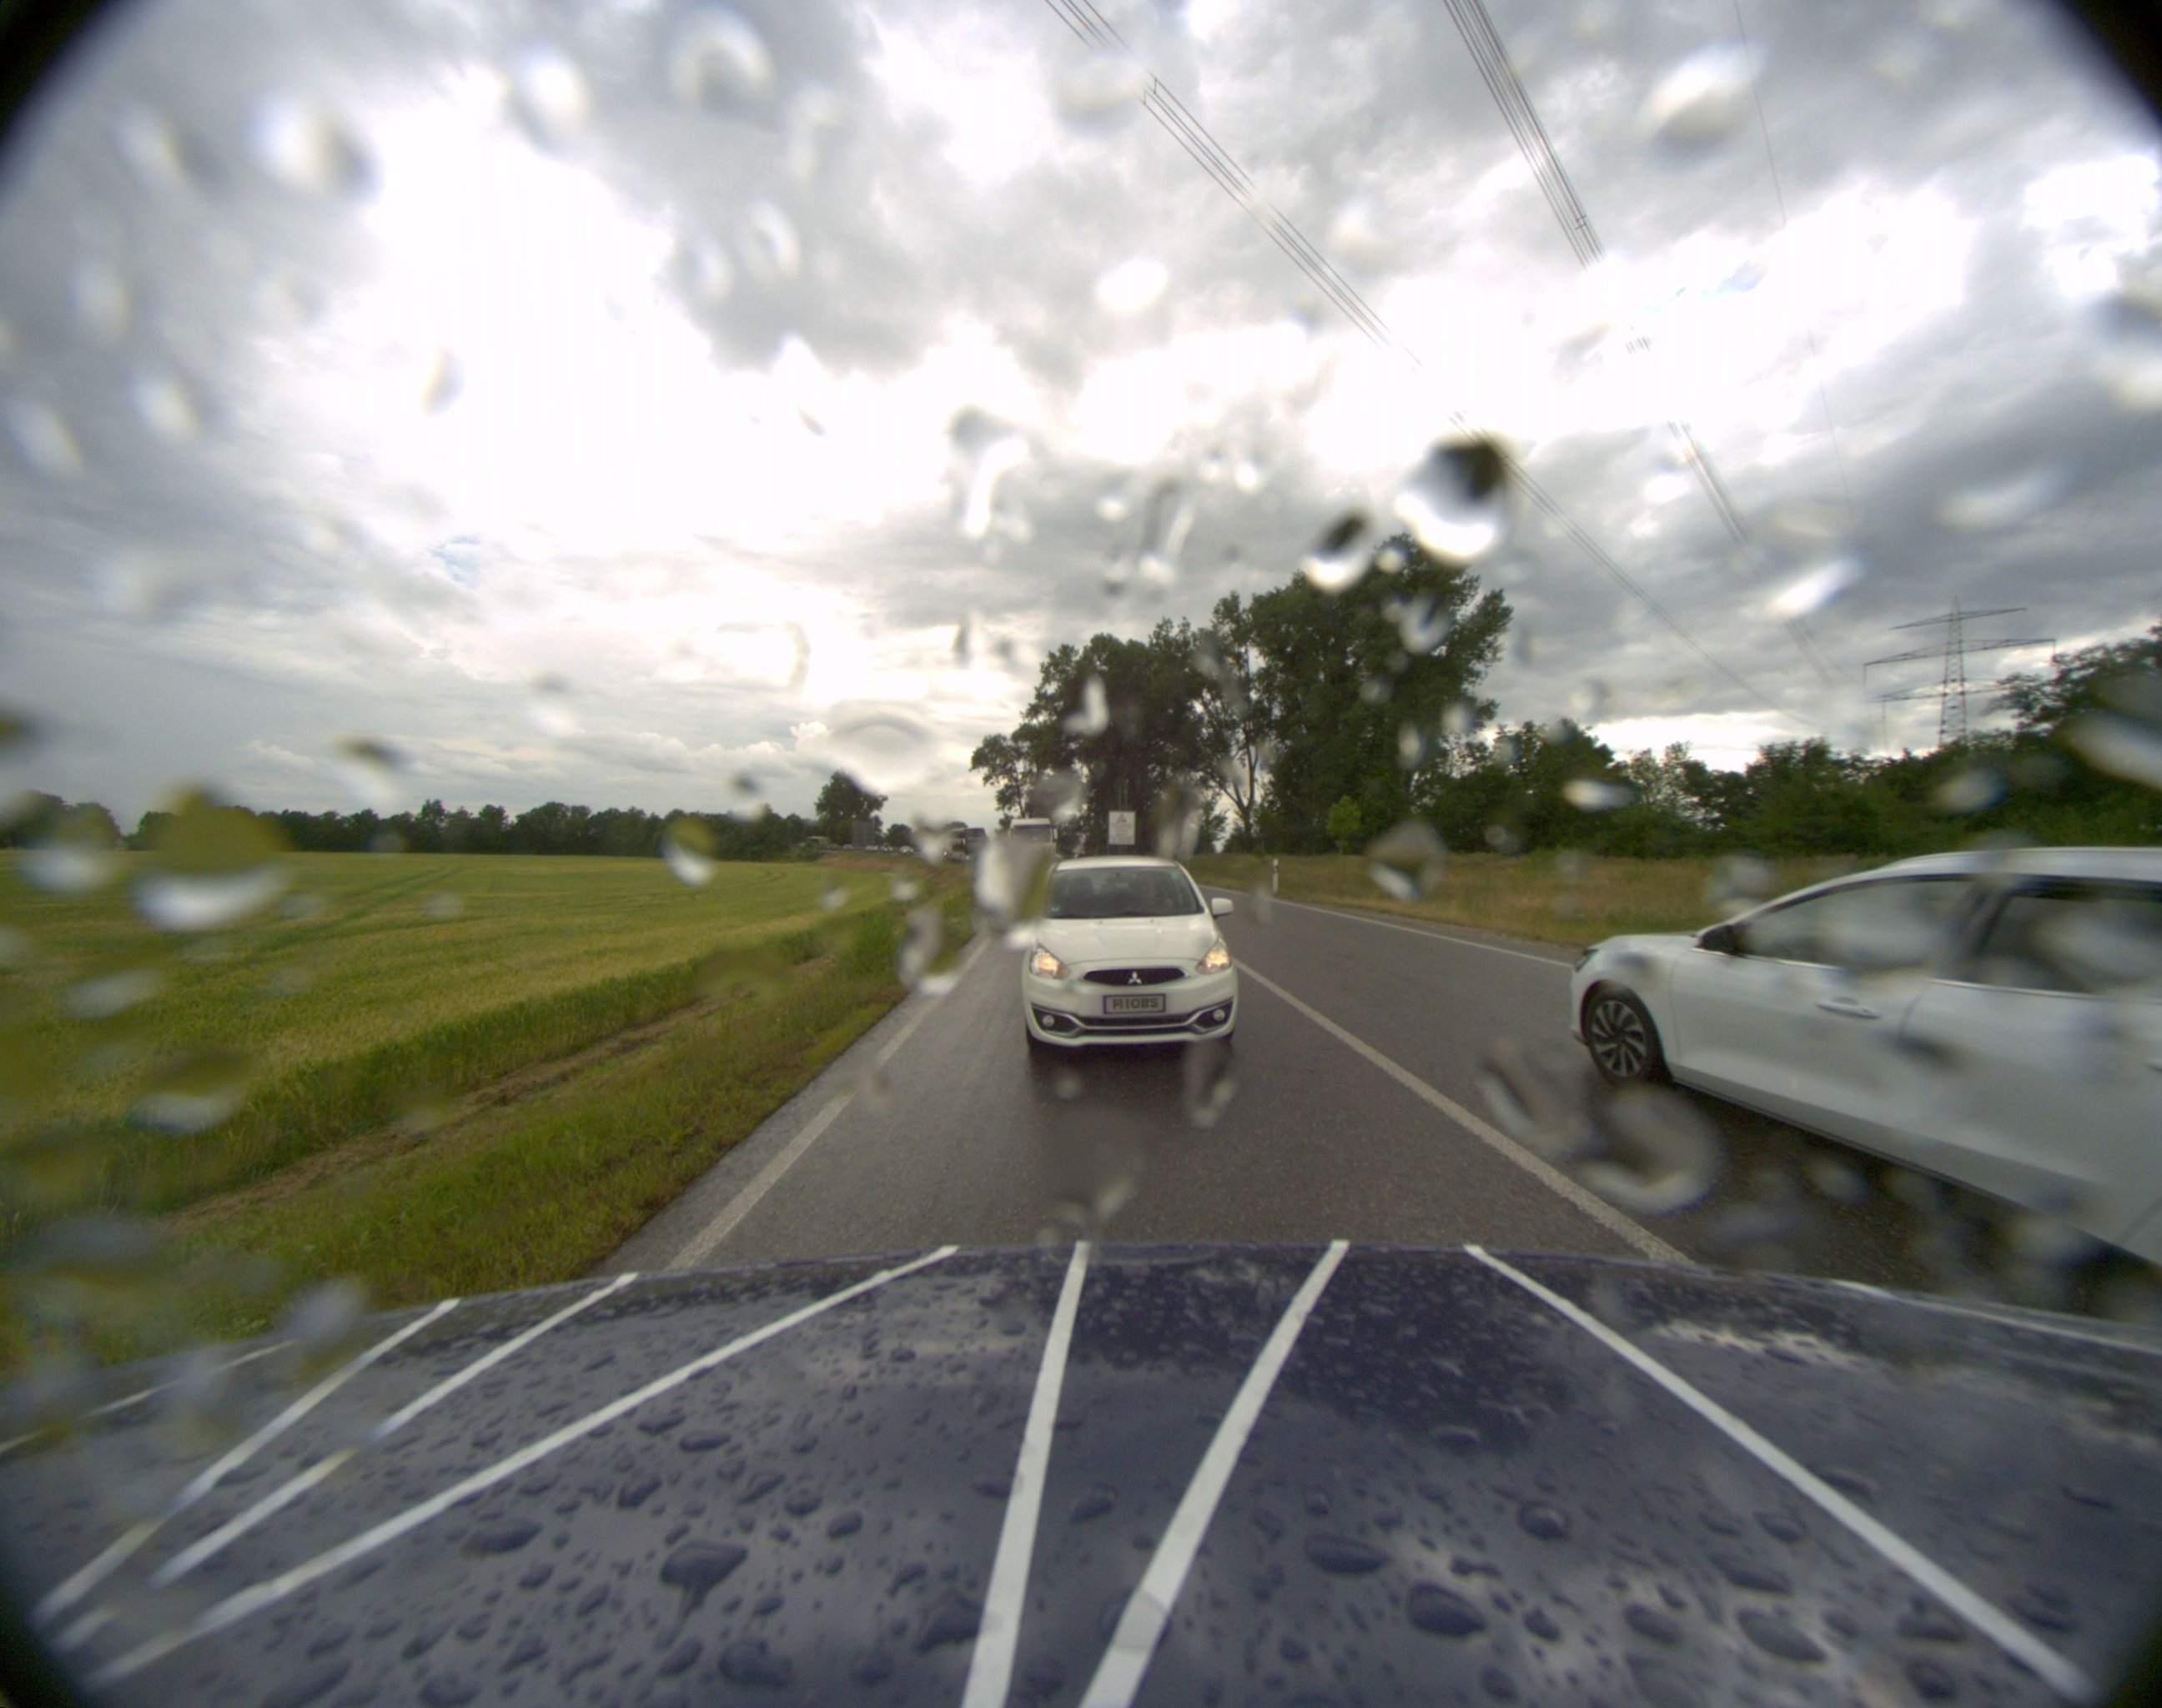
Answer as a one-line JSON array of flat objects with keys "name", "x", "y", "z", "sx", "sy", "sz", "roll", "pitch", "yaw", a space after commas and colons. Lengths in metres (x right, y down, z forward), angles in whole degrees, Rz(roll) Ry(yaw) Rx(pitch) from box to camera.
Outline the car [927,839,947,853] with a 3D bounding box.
[{"name": "car", "x": -21.962, "y": -1.298, "z": 115.927, "sx": 2.002, "sy": 2.002, "sz": 5.325, "roll": -3, "pitch": 2, "yaw": -22}]

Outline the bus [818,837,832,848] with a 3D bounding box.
[{"name": "bus", "x": -70.474, "y": -3.157, "z": 208.941, "sx": 2.003, "sy": 2.899, "sz": 6.992, "roll": -4, "pitch": 2, "yaw": -31}]

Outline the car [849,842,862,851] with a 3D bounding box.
[{"name": "car", "x": -55.047, "y": -1.815, "z": 185.305, "sx": 2.003, "sy": 2.002, "sz": 4.221, "roll": -3, "pitch": 2, "yaw": -31}]

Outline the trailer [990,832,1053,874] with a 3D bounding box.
[{"name": "trailer", "x": -4.722, "y": -0.245, "z": 56.744, "sx": 2.986, "sy": 2.618, "sz": 15.663, "roll": -3, "pitch": 2, "yaw": -10}]

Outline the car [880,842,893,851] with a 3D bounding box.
[{"name": "car", "x": -44.808, "y": -1.662, "z": 175.356, "sx": 1.891, "sy": 2.002, "sz": 4.286, "roll": -3, "pitch": 2, "yaw": -27}]

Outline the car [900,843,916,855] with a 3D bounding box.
[{"name": "car", "x": -31.568, "y": -0.970, "z": 138.258, "sx": 2.002, "sy": 2.002, "sz": 4.223, "roll": -3, "pitch": 2, "yaw": -24}]

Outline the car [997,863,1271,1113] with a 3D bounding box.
[{"name": "car", "x": 0.308, "y": 0.854, "z": 6.725, "sx": 1.653, "sy": 1.461, "sz": 4.030, "roll": -2, "pitch": 0, "yaw": -1}]

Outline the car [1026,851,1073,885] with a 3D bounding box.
[{"name": "car", "x": -1.578, "y": 0.648, "z": 36.900, "sx": 1.782, "sy": 1.380, "sz": 4.324, "roll": -3, "pitch": 2, "yaw": -8}]

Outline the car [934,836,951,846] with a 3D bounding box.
[{"name": "car", "x": -29.364, "y": -2.804, "z": 161.082, "sx": 2.003, "sy": 2.002, "sz": 4.109, "roll": -3, "pitch": 2, "yaw": -31}]

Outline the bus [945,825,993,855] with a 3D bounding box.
[{"name": "bus", "x": -13.779, "y": -1.779, "z": 92.085, "sx": 2.968, "sy": 3.294, "sz": 14.809, "roll": -3, "pitch": 3, "yaw": -18}]

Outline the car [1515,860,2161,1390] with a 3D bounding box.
[{"name": "car", "x": 4.001, "y": 0.801, "z": 3.210, "sx": 1.849, "sy": 1.380, "sz": 4.286, "roll": -2, "pitch": 1, "yaw": 0}]

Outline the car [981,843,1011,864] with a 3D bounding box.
[{"name": "car", "x": -8.163, "y": -0.125, "z": 72.781, "sx": 2.044, "sy": 1.832, "sz": 5.328, "roll": -3, "pitch": 2, "yaw": -14}]

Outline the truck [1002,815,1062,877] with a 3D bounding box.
[{"name": "truck", "x": -3.199, "y": -0.540, "z": 48.331, "sx": 2.986, "sy": 3.590, "sz": 6.073, "roll": -3, "pitch": 2, "yaw": -10}]

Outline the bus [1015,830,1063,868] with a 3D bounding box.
[{"name": "bus", "x": -4.234, "y": -0.469, "z": 73.897, "sx": 2.768, "sy": 3.279, "sz": 12.488, "roll": -2, "pitch": 1, "yaw": -11}]

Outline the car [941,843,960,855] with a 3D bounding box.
[{"name": "car", "x": -18.147, "y": -0.744, "z": 105.607, "sx": 1.816, "sy": 1.569, "sz": 3.992, "roll": -3, "pitch": 2, "yaw": -19}]

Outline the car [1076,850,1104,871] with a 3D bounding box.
[{"name": "car", "x": 0.591, "y": 0.398, "z": 51.918, "sx": 1.723, "sy": 1.244, "sz": 3.998, "roll": -2, "pitch": 2, "yaw": -1}]
